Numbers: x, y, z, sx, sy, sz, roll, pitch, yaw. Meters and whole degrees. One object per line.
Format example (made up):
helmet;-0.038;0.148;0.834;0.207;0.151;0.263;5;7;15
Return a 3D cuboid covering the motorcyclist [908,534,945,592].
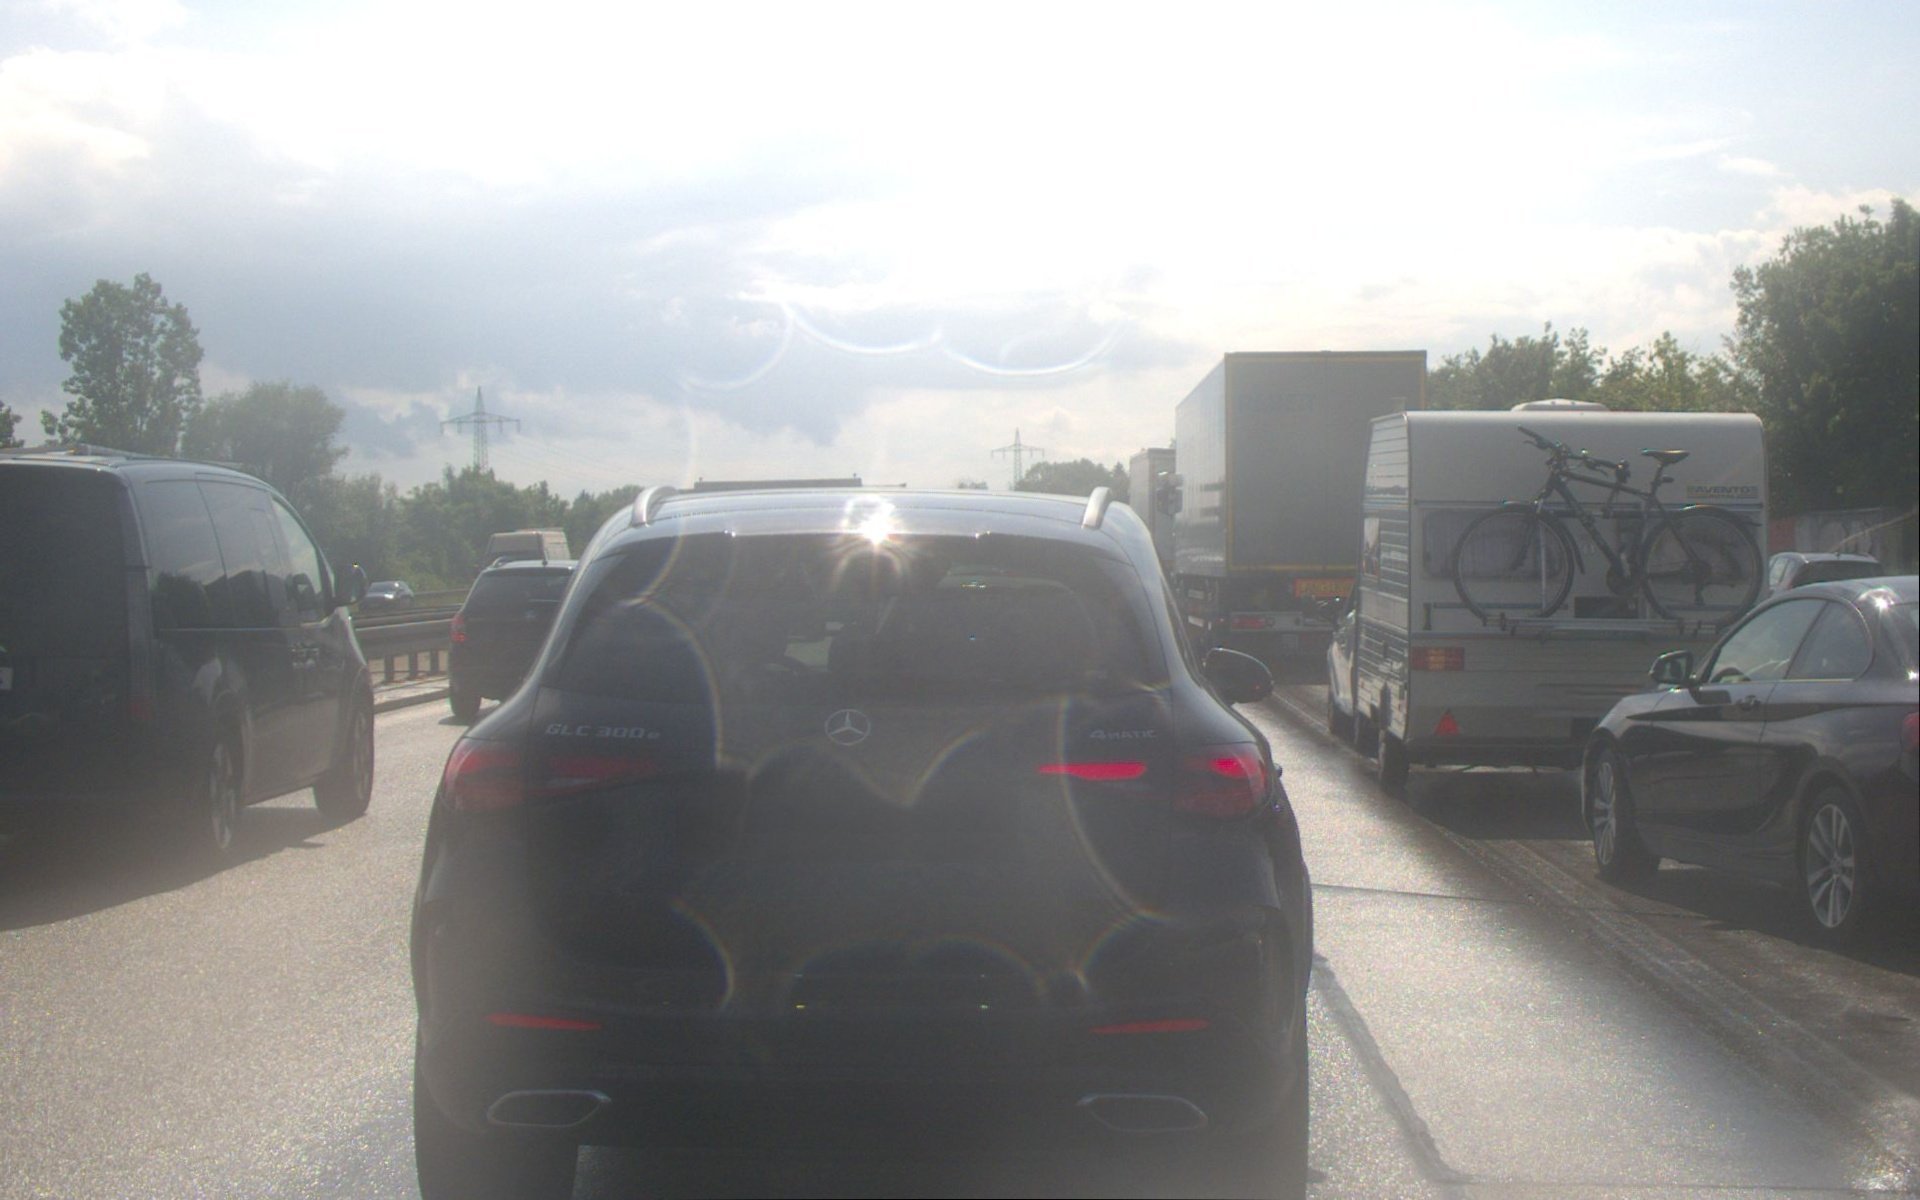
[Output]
motorcyclist;-0.993;-1.115;102.423;1.064;1.712;0.785;0;0;2

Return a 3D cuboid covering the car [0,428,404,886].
car;-4.371;0.208;17.750;1.993;2.007;5.269;0;1;2

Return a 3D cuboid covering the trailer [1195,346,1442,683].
trailer;4.749;-1.121;46.943;3.007;4.152;8.535;1;1;4

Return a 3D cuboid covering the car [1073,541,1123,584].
car;5.791;-1.577;144.860;1.876;1.754;4.000;1;1;-1

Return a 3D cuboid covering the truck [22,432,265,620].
truck;-17.720;-1.513;75.278;2.848;3.839;9.422;0;0;1

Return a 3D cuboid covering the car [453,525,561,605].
car;-13.024;-1.059;99.258;1.993;2.200;6.980;1;1;1

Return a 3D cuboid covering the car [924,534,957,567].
car;-1.232;-3.080;215.701;1.993;2.007;4.000;1;1;-1

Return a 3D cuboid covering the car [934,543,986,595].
car;-0.015;-1.295;142.062;1.993;2.007;4.000;4;1;0

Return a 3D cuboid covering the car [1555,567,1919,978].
car;4.064;0.601;14.358;1.848;1.459;4.257;-1;1;-9

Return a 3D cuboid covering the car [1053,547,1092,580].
car;6.025;-1.968;184.400;1.876;1.754;4.000;1;1;-1

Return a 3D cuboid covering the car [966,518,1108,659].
car;1.245;-0.202;53.783;1.994;2.007;4.000;4;1;3

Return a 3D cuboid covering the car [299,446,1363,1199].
car;-0.182;0.516;8.639;1.993;1.656;4.406;0;1;2

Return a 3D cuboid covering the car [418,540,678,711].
car;-3.817;0.193;32.499;1.757;1.511;4.208;0;1;3

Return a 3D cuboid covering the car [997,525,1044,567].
car;2.617;-2.326;149.178;1.876;1.754;4.000;1;1;-1

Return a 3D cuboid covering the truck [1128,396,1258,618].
truck;5.286;-2.079;78.982;2.502;4.813;7.543;1;1;1

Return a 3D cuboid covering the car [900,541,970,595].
car;-0.807;-1.059;112.621;1.994;1.610;4.000;4;1;3

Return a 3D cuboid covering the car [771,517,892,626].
car;-2.554;-0.594;69.357;1.994;2.007;4.000;4;1;3

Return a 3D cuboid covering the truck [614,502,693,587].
truck;-15.490;-2.796;174.087;3.005;4.089;7.686;-2;1;1

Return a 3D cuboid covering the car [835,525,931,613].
car;-1.788;-0.745;80.929;1.994;2.007;4.000;0;1;3

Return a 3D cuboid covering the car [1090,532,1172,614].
car;4.398;-0.717;88.471;1.994;2.007;4.000;2;1;3

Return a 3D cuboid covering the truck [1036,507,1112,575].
truck;6.947;-3.602;210.768;3.842;4.003;11.222;1;1;-2

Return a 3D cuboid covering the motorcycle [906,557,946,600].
motorcycle;-0.999;-0.640;102.350;1.074;1.267;2.690;0;1;2

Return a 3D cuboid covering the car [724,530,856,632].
car;-3.045;-0.358;62.352;1.994;1.766;4.000;1;1;3

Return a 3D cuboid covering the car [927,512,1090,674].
car;0.688;-0.113;45.170;1.994;2.007;4.000;1;1;3

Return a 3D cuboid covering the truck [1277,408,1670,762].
truck;3.886;-0.139;27.160;2.374;2.468;5.756;1;1;2

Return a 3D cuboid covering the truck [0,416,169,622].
truck;-17.913;-1.486;67.306;2.862;3.808;7.877;0;0;1

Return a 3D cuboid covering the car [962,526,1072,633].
car;1.140;-0.417;67.101;1.994;2.007;4.000;1;1;3

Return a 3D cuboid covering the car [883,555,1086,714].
car;0.292;0.285;32.828;1.806;1.402;4.000;1;1;2

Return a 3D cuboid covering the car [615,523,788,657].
car;-3.466;-0.153;46.706;1.993;1.714;4.000;1;1;1

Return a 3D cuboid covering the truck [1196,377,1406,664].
truck;5.145;-1.201;52.667;2.995;4.152;5.239;1;1;4

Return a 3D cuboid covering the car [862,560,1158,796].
car;0.392;0.441;22.383;1.757;1.382;3.945;0;1;3

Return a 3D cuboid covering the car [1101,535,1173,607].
car;5.340;-0.877;103.960;1.994;2.007;4.000;4;1;3

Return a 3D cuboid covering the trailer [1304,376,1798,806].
trailer;3.766;-0.088;23.291;2.374;2.475;6.523;1;1;2

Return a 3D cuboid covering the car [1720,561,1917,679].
car;12.001;0.247;48.280;1.848;1.563;4.000;1;1;2
